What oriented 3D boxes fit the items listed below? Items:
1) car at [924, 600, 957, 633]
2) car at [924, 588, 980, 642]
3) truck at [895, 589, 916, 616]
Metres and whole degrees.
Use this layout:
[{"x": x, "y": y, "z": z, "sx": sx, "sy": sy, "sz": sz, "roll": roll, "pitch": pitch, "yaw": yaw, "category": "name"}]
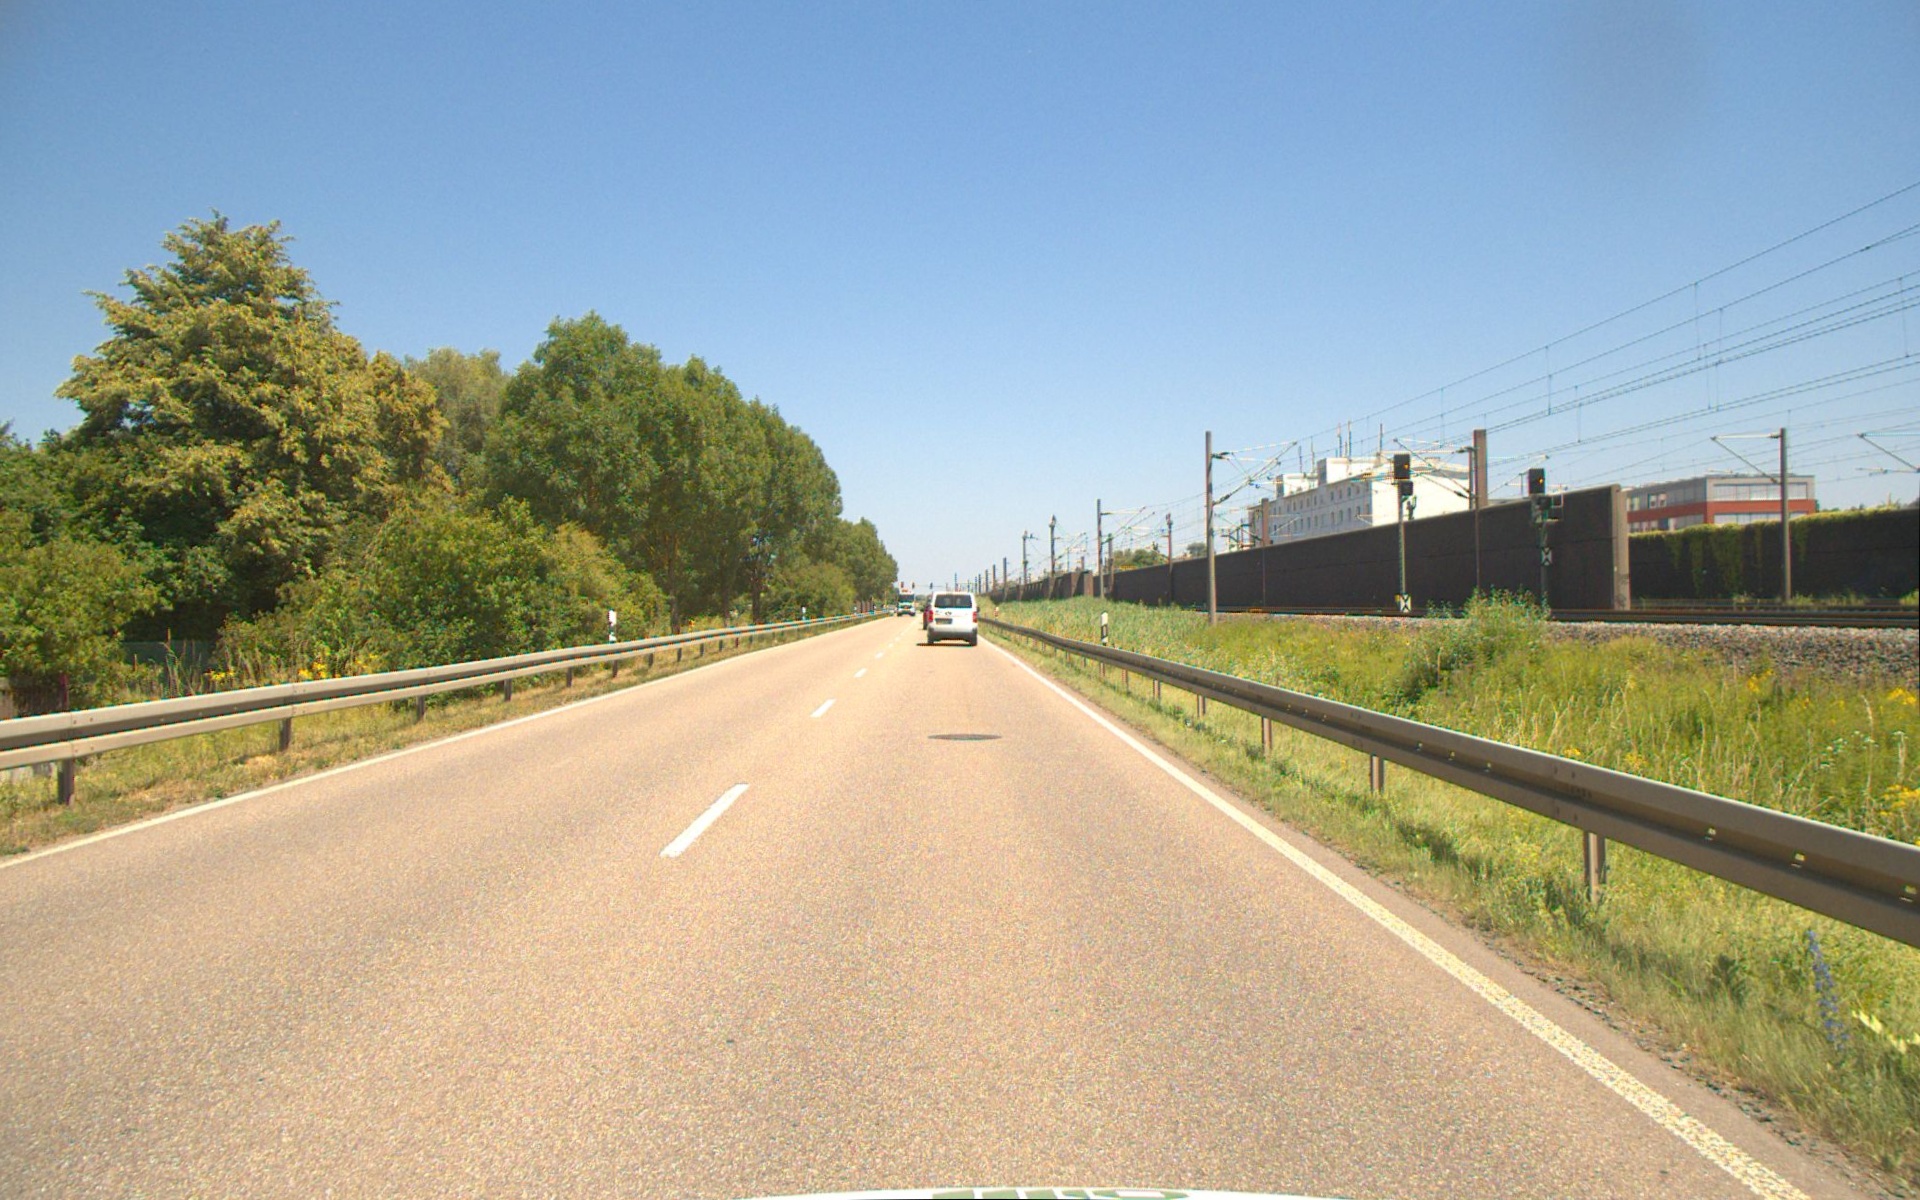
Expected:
[{"x": -1.194, "y": 0.984, "z": 99.685, "sx": 1.953, "sy": 1.882, "sz": 3.999, "roll": 1, "pitch": 0, "yaw": -1, "category": "car"}, {"x": -0.309, "y": 0.544, "z": 61.020, "sx": 1.953, "sy": 1.882, "sz": 3.999, "roll": 1, "pitch": 0, "yaw": -1, "category": "car"}, {"x": -7.417, "y": 0.321, "z": 224.259, "sx": 2.727, "sy": 3.464, "sz": 7.986, "roll": 1, "pitch": 0, "yaw": -1, "category": "truck"}]
